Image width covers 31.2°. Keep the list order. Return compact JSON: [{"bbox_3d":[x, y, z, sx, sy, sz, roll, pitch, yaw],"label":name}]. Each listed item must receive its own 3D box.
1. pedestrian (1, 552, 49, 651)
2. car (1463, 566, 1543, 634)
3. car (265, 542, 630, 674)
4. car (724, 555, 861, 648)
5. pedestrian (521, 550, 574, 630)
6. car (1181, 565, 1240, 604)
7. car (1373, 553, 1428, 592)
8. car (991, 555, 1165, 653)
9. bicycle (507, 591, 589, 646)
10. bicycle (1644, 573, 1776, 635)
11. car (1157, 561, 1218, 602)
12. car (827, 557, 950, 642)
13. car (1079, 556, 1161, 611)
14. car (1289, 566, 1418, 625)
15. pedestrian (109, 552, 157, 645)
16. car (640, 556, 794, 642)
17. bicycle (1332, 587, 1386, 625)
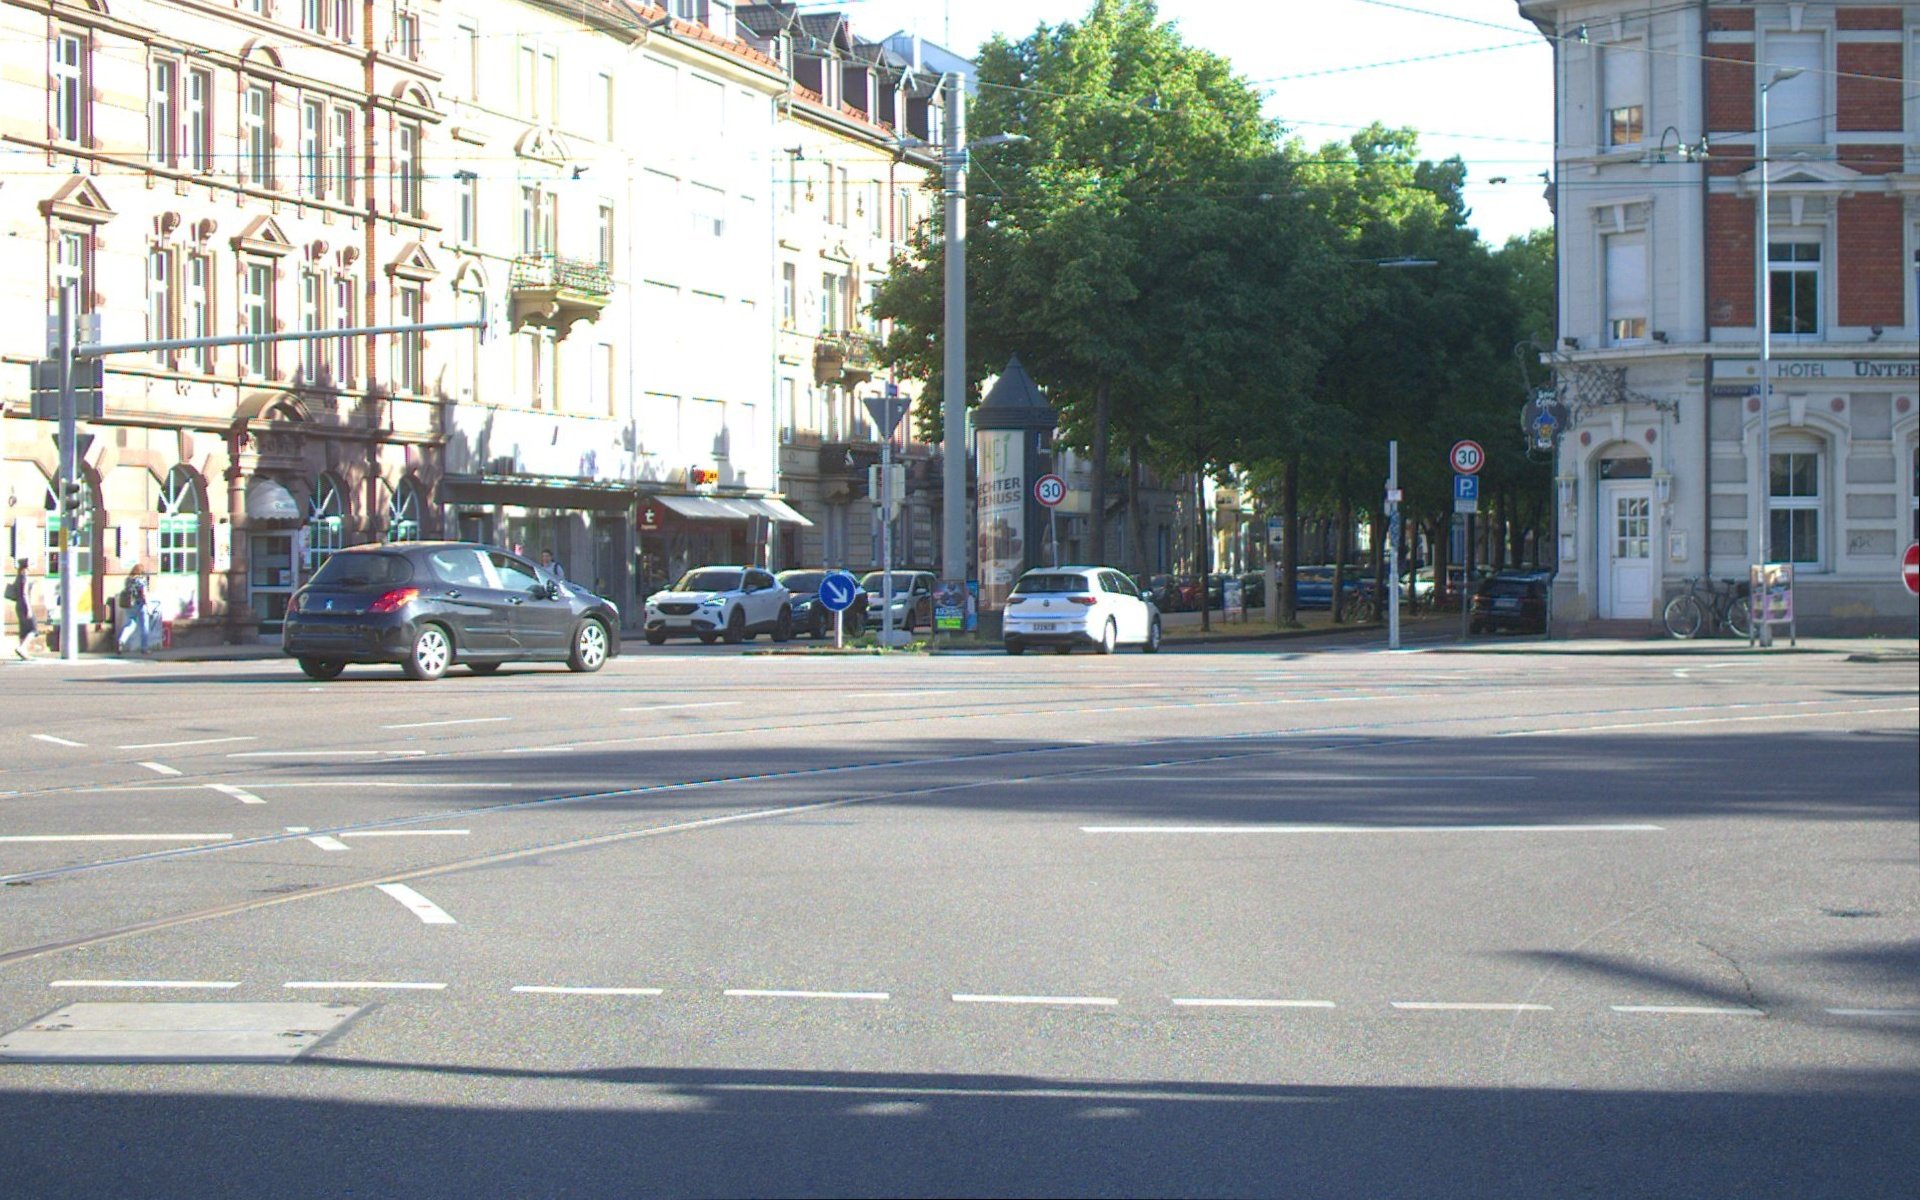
[{"bbox_3d":[-15.477,0.023,56.905,0.633,1.628,0.701,1,0,-4],"label":"pedestrian"},{"bbox_3d":[13.065,-0.017,82.596,1.692,1.559,3.839,1,1,11],"label":"car"},{"bbox_3d":[-5.577,0.074,37.787,1.757,1.357,3.847,1,1,36],"label":"car"},{"bbox_3d":[-3.562,0.016,73.684,1.994,1.897,3.998,1,1,11],"label":"car"},{"bbox_3d":[-7.832,-0.189,65.211,0.821,1.507,0.598,1,0,15],"label":"pedestrian"},{"bbox_3d":[9.946,-0.621,136.337,1.560,1.508,3.653,1,1,17],"label":"car"},{"bbox_3d":[17.275,-1.072,134.697,1.560,1.508,3.653,1,1,17],"label":"car"},{"bbox_3d":[1.981,0.048,56.482,1.773,1.525,3.996,1,1,18],"label":"car"},{"bbox_3d":[-7.818,0.338,65.291,0.763,1.004,2.395,1,1,13],"label":"bicycle"},{"bbox_3d":[12.449,0.064,57.095,2.049,0.994,0.630,1,0,3],"label":"bicycle"},{"bbox_3d":[8.747,-0.716,131.997,1.560,1.508,3.653,1,1,17],"label":"car"},{"bbox_3d":[-1.627,-0.019,79.802,1.994,1.897,3.998,1,1,11],"label":"car"},{"bbox_3d":[5.752,-0.595,122.911,1.995,1.897,3.997,1,1,17],"label":"car"},{"bbox_3d":[13.159,-0.167,114.977,3.990,1.897,1.998,1,0,16],"label":"car"},{"bbox_3d":[-14.667,-0.032,60.998,0.544,1.626,0.706,1,0,13],"label":"pedestrian"},{"bbox_3d":[-4.709,-0.034,67.231,1.994,1.612,3.998,1,1,11],"label":"car"},{"bbox_3d":[11.503,0.166,99.074,0.626,1.081,1.703,1,1,-31],"label":"bicycle"}]
